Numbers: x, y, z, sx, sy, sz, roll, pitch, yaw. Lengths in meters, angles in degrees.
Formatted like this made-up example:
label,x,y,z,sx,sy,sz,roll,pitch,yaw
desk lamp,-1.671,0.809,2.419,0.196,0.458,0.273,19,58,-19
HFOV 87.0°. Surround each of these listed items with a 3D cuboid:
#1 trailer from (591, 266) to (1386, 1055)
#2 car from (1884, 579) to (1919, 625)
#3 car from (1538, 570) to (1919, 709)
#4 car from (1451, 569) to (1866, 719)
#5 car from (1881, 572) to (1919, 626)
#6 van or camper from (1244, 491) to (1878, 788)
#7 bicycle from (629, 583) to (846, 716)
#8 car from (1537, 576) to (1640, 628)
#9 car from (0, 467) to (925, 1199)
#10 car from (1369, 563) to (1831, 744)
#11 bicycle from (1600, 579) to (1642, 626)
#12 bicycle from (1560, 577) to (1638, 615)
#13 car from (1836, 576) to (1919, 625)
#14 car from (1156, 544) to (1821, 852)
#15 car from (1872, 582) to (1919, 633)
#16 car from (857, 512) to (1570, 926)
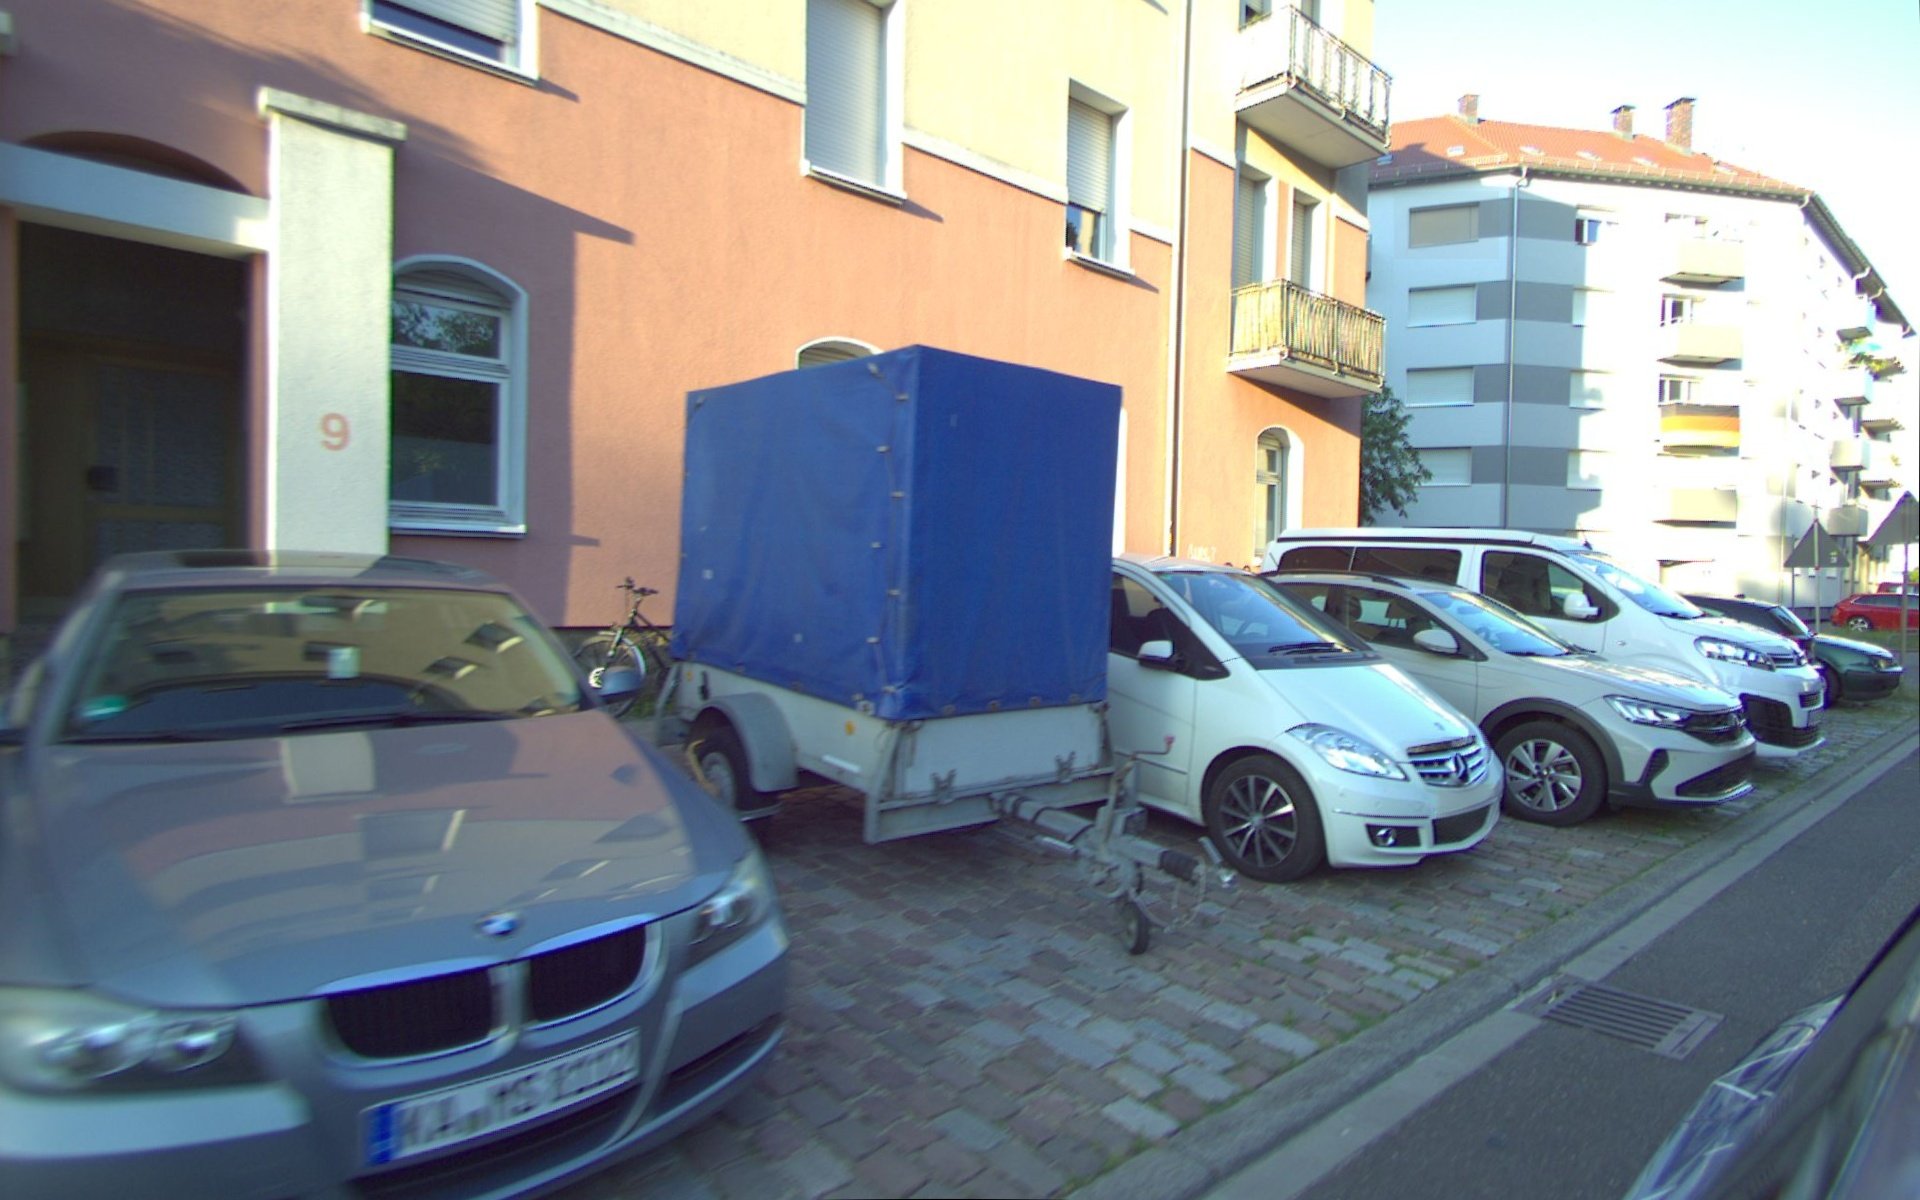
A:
label,x,y,z,sx,sy,sz,roll,pitch,yaw
trailer,-0.139,0.065,4.992,1.908,2.365,3.573,0,4,-43
car,35.547,0.101,35.864,1.754,1.649,3.993,0,2,-42
car,10.640,0.415,14.127,1.823,1.605,4.107,0,2,-43
car,8.718,0.412,12.884,1.966,1.549,3.994,0,2,-41
car,37.701,0.014,37.743,1.964,2.025,4.685,0,2,-39
van or camper,5.398,0.200,9.754,2.004,2.122,4.846,0,2,-39
bicycle,-1.933,0.386,8.997,1.872,1.074,0.516,-1,2,-42
car,18.733,0.008,30.351,1.978,1.438,3.969,1,2,23
car,-2.126,0.573,3.446,1.871,1.658,3.992,0,2,-43
car,6.995,0.425,11.366,1.966,1.638,3.994,0,2,-41
bicycle,20.665,0.061,31.666,0.510,1.400,2.488,1,1,20
bicycle,22.099,-0.135,34.994,2.403,1.289,0.699,0,1,-10
car,31.548,0.033,32.925,1.888,1.560,4.312,0,2,-38
car,3.691,0.447,7.605,1.966,1.660,3.994,-1,2,-41
car,33.723,0.279,34.309,1.966,1.682,3.993,0,2,-42
car,1.306,0.415,6.426,1.966,1.749,3.994,-2,3,-41
